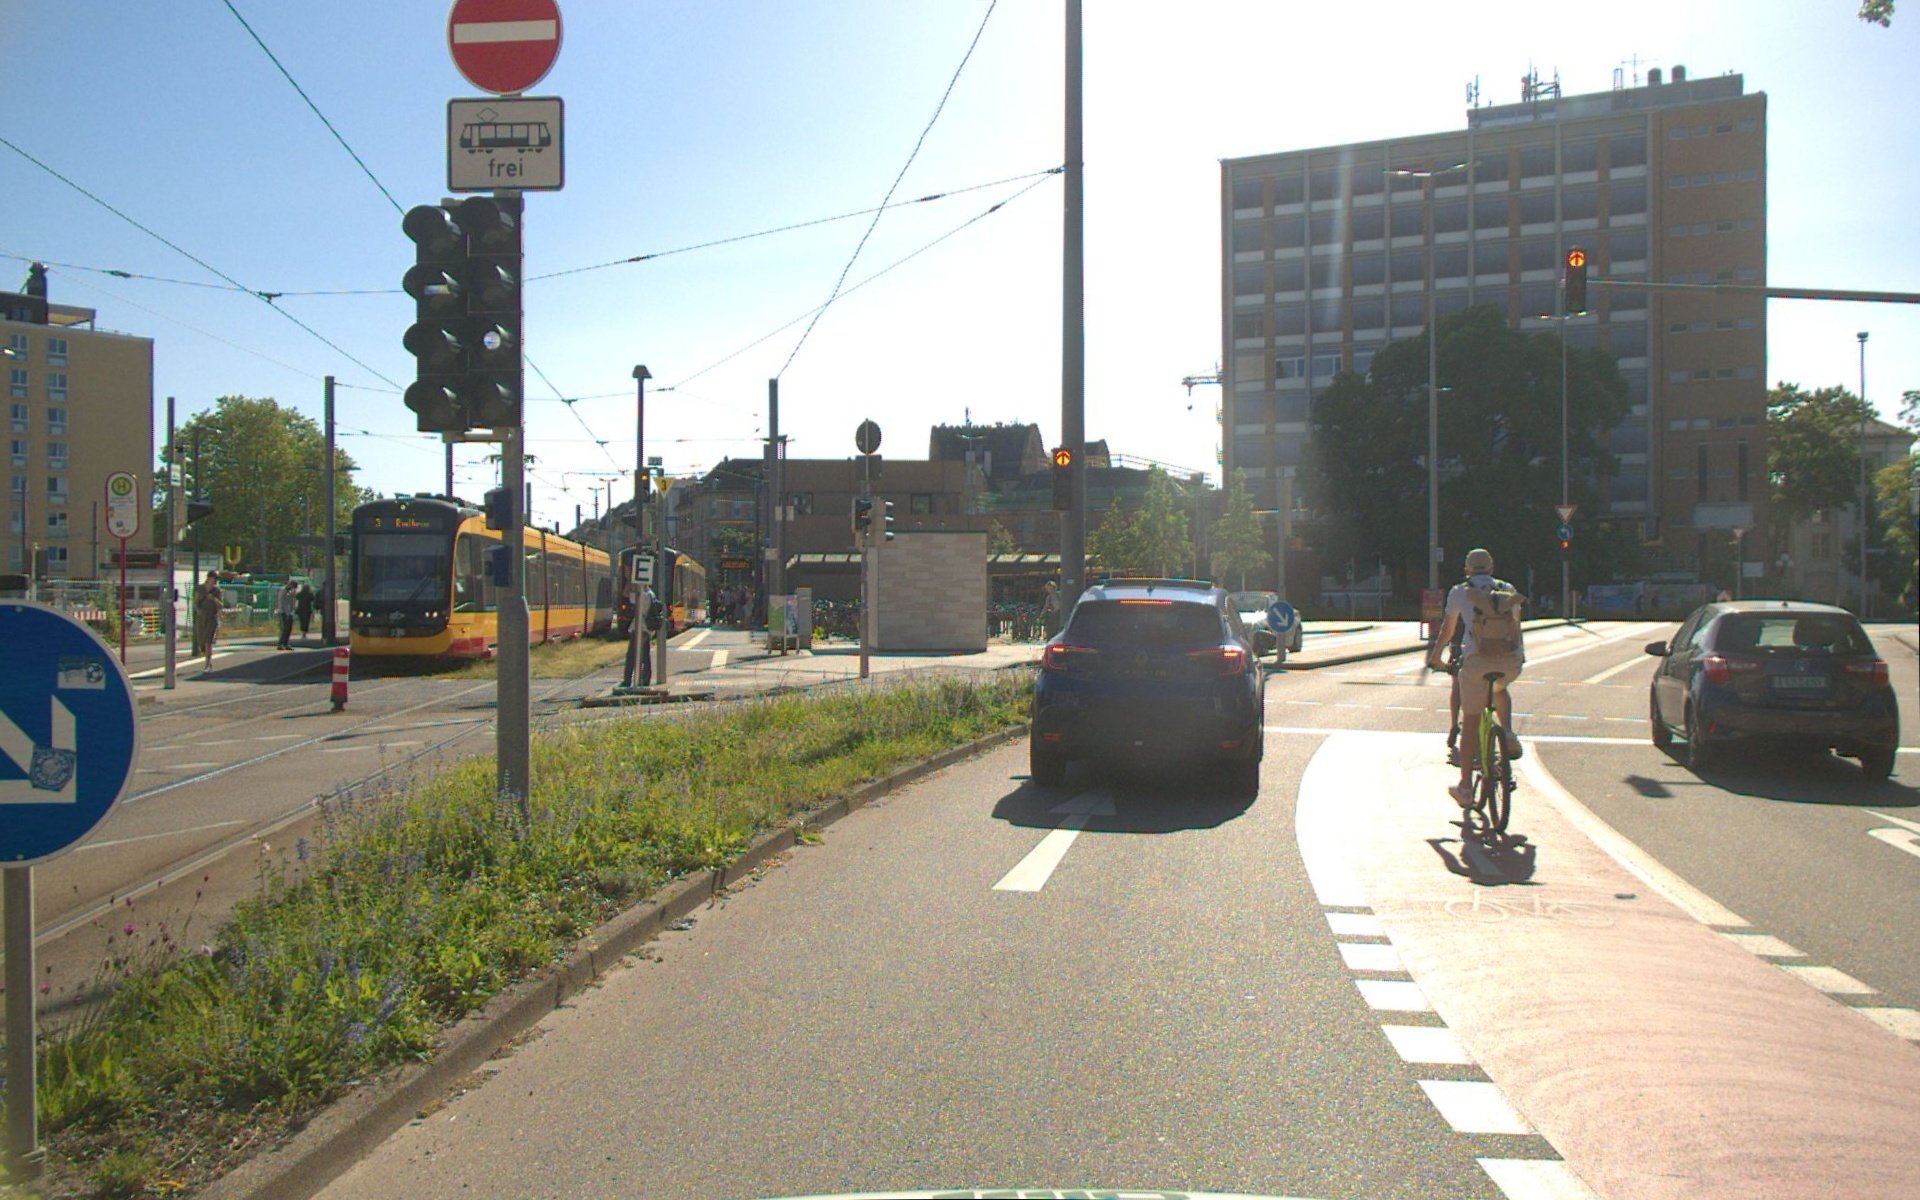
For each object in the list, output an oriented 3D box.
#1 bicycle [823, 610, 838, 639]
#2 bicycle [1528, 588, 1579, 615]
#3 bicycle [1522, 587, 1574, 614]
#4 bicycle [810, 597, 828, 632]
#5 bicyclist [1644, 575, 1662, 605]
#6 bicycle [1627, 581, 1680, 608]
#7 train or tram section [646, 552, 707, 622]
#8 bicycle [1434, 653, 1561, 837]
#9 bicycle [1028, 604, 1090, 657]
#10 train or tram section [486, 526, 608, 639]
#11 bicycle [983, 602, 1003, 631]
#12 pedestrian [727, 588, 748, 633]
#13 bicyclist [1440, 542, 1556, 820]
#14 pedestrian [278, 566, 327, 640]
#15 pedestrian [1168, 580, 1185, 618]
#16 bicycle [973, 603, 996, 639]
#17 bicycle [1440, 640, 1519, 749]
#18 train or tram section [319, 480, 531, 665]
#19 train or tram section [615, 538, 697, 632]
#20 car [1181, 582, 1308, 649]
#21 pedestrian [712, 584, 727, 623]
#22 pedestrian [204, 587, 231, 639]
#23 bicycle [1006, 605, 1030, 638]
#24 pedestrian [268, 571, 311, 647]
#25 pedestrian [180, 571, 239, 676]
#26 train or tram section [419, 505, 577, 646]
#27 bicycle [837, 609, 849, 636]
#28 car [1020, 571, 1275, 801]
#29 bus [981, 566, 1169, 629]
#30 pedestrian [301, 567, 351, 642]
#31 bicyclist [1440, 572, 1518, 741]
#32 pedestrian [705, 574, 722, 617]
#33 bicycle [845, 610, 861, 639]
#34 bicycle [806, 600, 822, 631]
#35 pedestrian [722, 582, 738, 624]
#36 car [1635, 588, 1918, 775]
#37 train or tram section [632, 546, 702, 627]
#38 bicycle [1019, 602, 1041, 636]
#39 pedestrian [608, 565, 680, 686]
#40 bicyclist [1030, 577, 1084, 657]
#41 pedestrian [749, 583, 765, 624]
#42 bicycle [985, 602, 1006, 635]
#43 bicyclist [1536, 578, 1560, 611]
[{"bbox_3d":[-4.376,0.819,55.786,0.414,0.954,1.303,1,0,-9],"label":"bicycle"},{"bbox_3d":[35.691,0.096,99.432,2.750,1.568,0.882,0,-1,32],"label":"bicycle"},{"bbox_3d":[34.741,0.052,97.747,2.750,1.568,0.882,0,-1,32],"label":"bicycle"},{"bbox_3d":[-4.612,0.484,54.082,0.555,1.112,2.027,1,-1,-4],"label":"bicycle"},{"bbox_3d":[40.257,-0.563,96.029,0.842,1.721,0.882,0,-1,31],"label":"bicyclist"},{"bbox_3d":[40.257,-0.319,96.041,2.750,1.568,0.882,0,-1,32],"label":"bicycle"},{"bbox_3d":[-15.153,-0.680,89.019,2.817,3.569,10.525,0,0,-8],"label":"train or tram section"},{"bbox_3d":[3.616,0.931,11.250,0.648,1.065,1.892,0,0,13],"label":"bicycle"},{"bbox_3d":[2.138,0.647,35.334,0.757,1.099,2.036,-1,-1,20],"label":"bicycle"},{"bbox_3d":[-14.367,-0.578,58.383,2.763,3.569,11.193,1,0,-7],"label":"train or tram section"},{"bbox_3d":[1.285,0.635,63.777,0.569,1.107,1.869,1,-1,-5],"label":"bicycle"},{"bbox_3d":[-9.448,0.446,70.131,0.831,1.916,0.759,1,-1,-9],"label":"pedestrian"},{"bbox_3d":[3.609,0.515,11.152,0.649,1.778,1.006,0,0,13],"label":"bicyclist"},{"bbox_3d":[-18.536,0.095,46.654,0.941,2.049,0.999,1,-1,-1],"label":"pedestrian"},{"bbox_3d":[11.045,-0.059,84.310,0.711,1.889,0.702,1,-1,-5],"label":"pedestrian"},{"bbox_3d":[0.731,0.640,50.241,0.569,1.076,1.815,1,-1,-3],"label":"bicycle"},{"bbox_3d":[5.309,0.935,16.981,0.707,0.976,1.885,1,1,16],"label":"bicycle"},{"bbox_3d":[-11.686,-0.554,37.197,2.765,3.569,10.459,-1,0,-8],"label":"train or tram section"},{"bbox_3d":[-12.402,-0.575,68.230,2.817,3.569,10.524,0,0,-8],"label":"train or tram section"},{"bbox_3d":[6.417,0.323,36.985,1.764,1.417,4.089,-1,0,26],"label":"car"},{"bbox_3d":[-11.646,0.161,80.245,0.619,1.889,0.702,1,-1,-3],"label":"pedestrian"},{"bbox_3d":[-25.578,0.441,57.005,0.655,1.798,0.798,0,0,-9],"label":"pedestrian"},{"bbox_3d":[1.762,0.661,50.508,0.569,0.978,2.057,1,-1,-2],"label":"bicycle"},{"bbox_3d":[-16.102,0.209,39.711,0.853,1.798,0.964,0,0,-29],"label":"pedestrian"},{"bbox_3d":[-13.825,0.417,30.499,0.747,1.882,0.900,0,2,-9],"label":"pedestrian"},{"bbox_3d":[-13.042,-0.622,47.634,2.763,3.569,10.595,1,0,-7],"label":"train or tram section"},{"bbox_3d":[-4.298,0.827,60.832,0.413,0.954,1.377,1,0,-5],"label":"bicycle"},{"bbox_3d":[1.703,0.611,13.931,1.784,1.628,3.662,1,0,12],"label":"car"},{"bbox_3d":[6.526,-0.111,96.729,2.860,3.455,12.246,2,-1,-43],"label":"bus"},{"bbox_3d":[-17.463,0.129,45.575,0.941,2.049,0.999,1,-1,-1],"label":"pedestrian"},{"bbox_3d":[5.307,0.555,16.954,0.706,1.654,1.055,1,0,16],"label":"bicyclist"},{"bbox_3d":[-11.433,-0.213,76.635,0.726,1.951,0.740,1,-1,-8],"label":"pedestrian"},{"bbox_3d":[-3.620,0.835,56.040,0.414,0.954,1.303,1,0,-9],"label":"bicycle"},{"bbox_3d":[-5.340,0.578,60.508,0.555,1.112,2.027,1,-1,-4],"label":"bicycle"},{"bbox_3d":[-10.329,0.136,74.305,0.621,1.889,0.700,1,-1,-13],"label":"pedestrian"},{"bbox_3d":[7.686,0.681,15.907,1.718,1.568,3.661,0,0,15],"label":"car"},{"bbox_3d":[-13.802,-0.593,78.637,2.817,3.569,10.524,0,0,-8],"label":"train or tram section"},{"bbox_3d":[2.375,0.651,56.211,0.569,1.107,2.057,1,-1,-2],"label":"bicycle"},{"bbox_3d":[-4.961,0.406,25.973,1.000,1.864,0.756,1,-1,-18],"label":"pedestrian"},{"bbox_3d":[2.066,0.362,35.291,0.861,1.673,1.060,-1,-1,20],"label":"bicyclist"},{"bbox_3d":[-9.942,0.181,81.018,0.726,1.951,0.741,1,-1,-10],"label":"pedestrian"},{"bbox_3d":[1.190,0.632,56.265,0.569,1.107,2.057,1,-1,-2],"label":"bicycle"},{"bbox_3d":[34.749,-0.320,97.738,1.185,1.930,0.882,0,-1,31],"label":"bicyclist"}]
